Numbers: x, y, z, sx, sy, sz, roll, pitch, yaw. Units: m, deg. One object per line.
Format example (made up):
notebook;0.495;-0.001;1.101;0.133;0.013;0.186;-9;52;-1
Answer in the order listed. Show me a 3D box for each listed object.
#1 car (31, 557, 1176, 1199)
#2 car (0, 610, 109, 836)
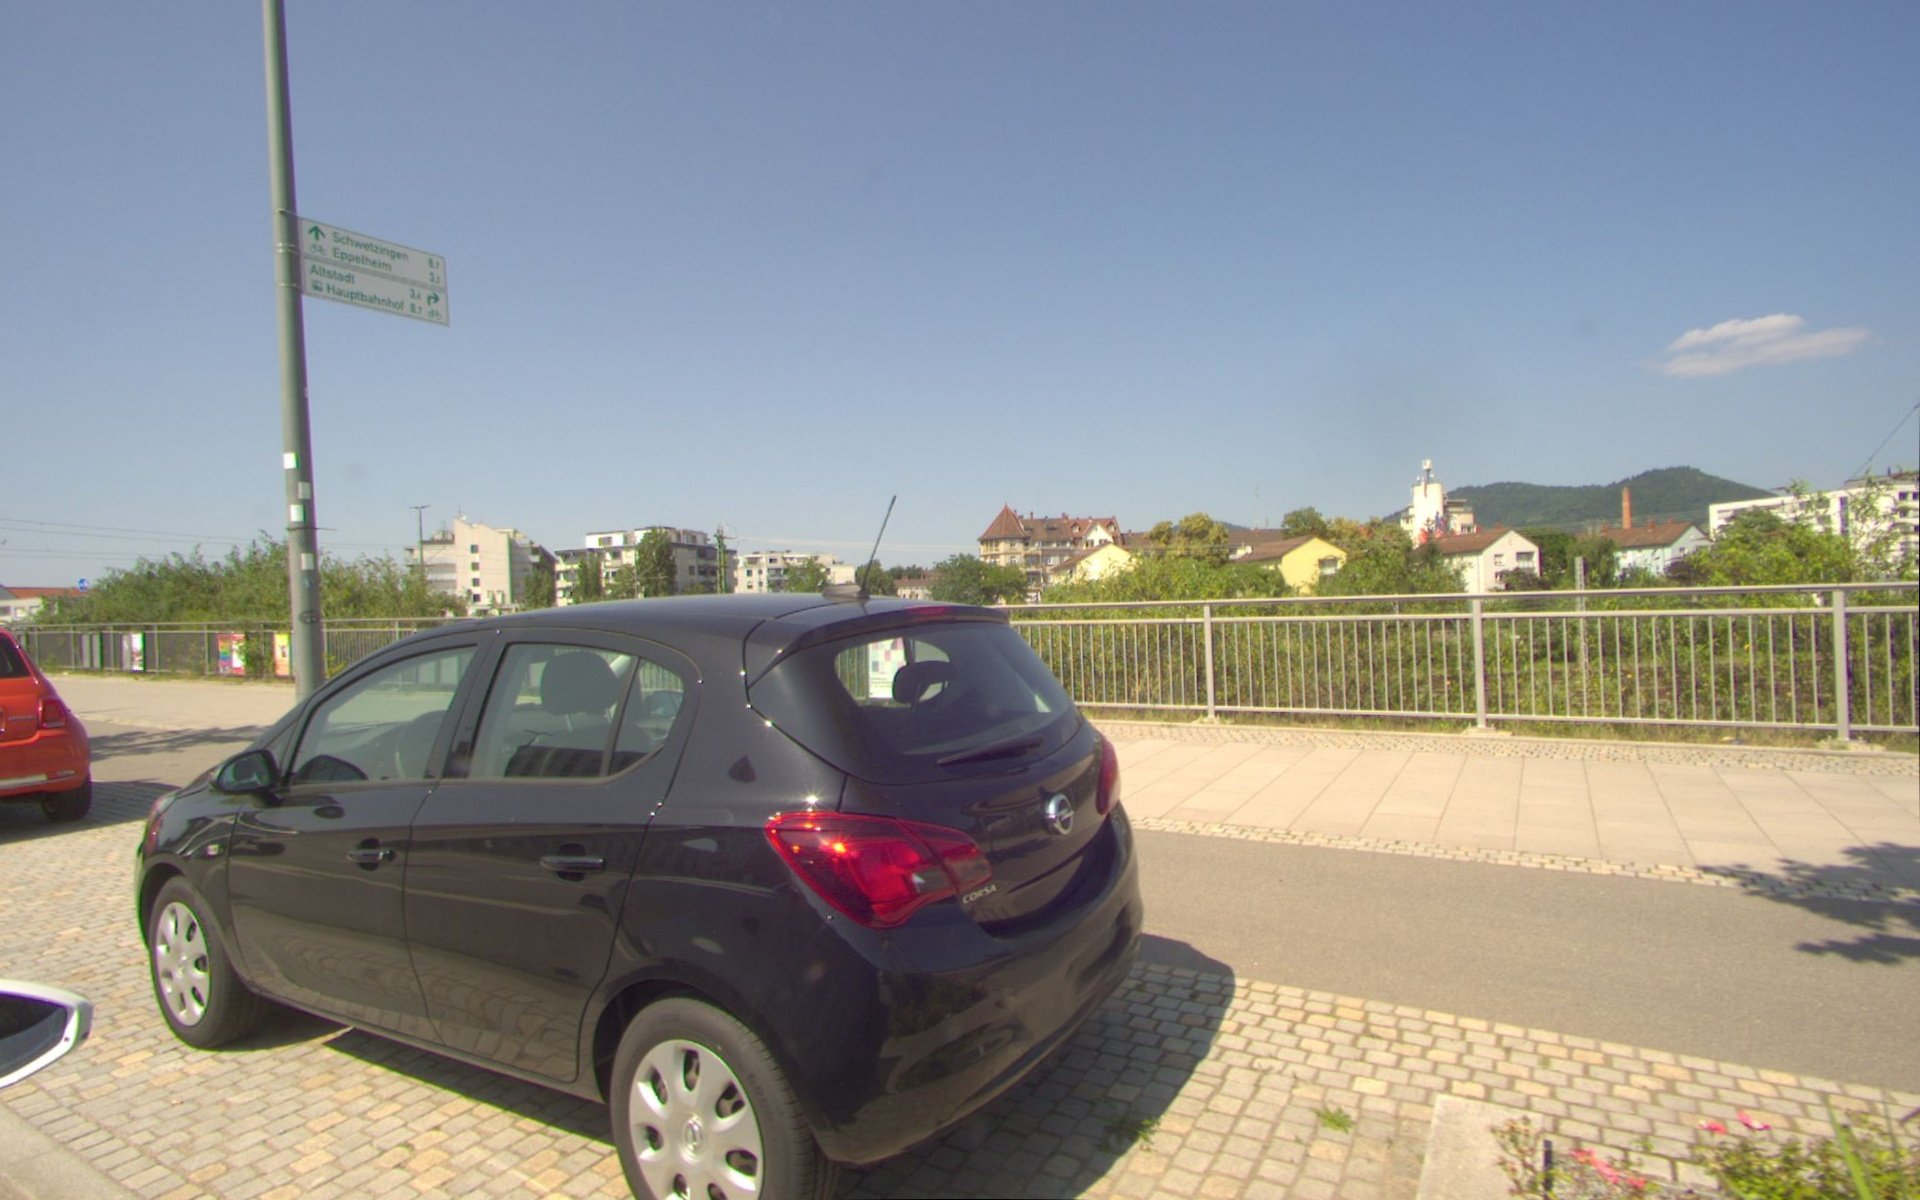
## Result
car;-1.427;0.692;3.528;3.942;1.445;1.657;-2;0;31
car;-8.038;0.881;7.530;3.306;1.517;1.605;-1;1;34
